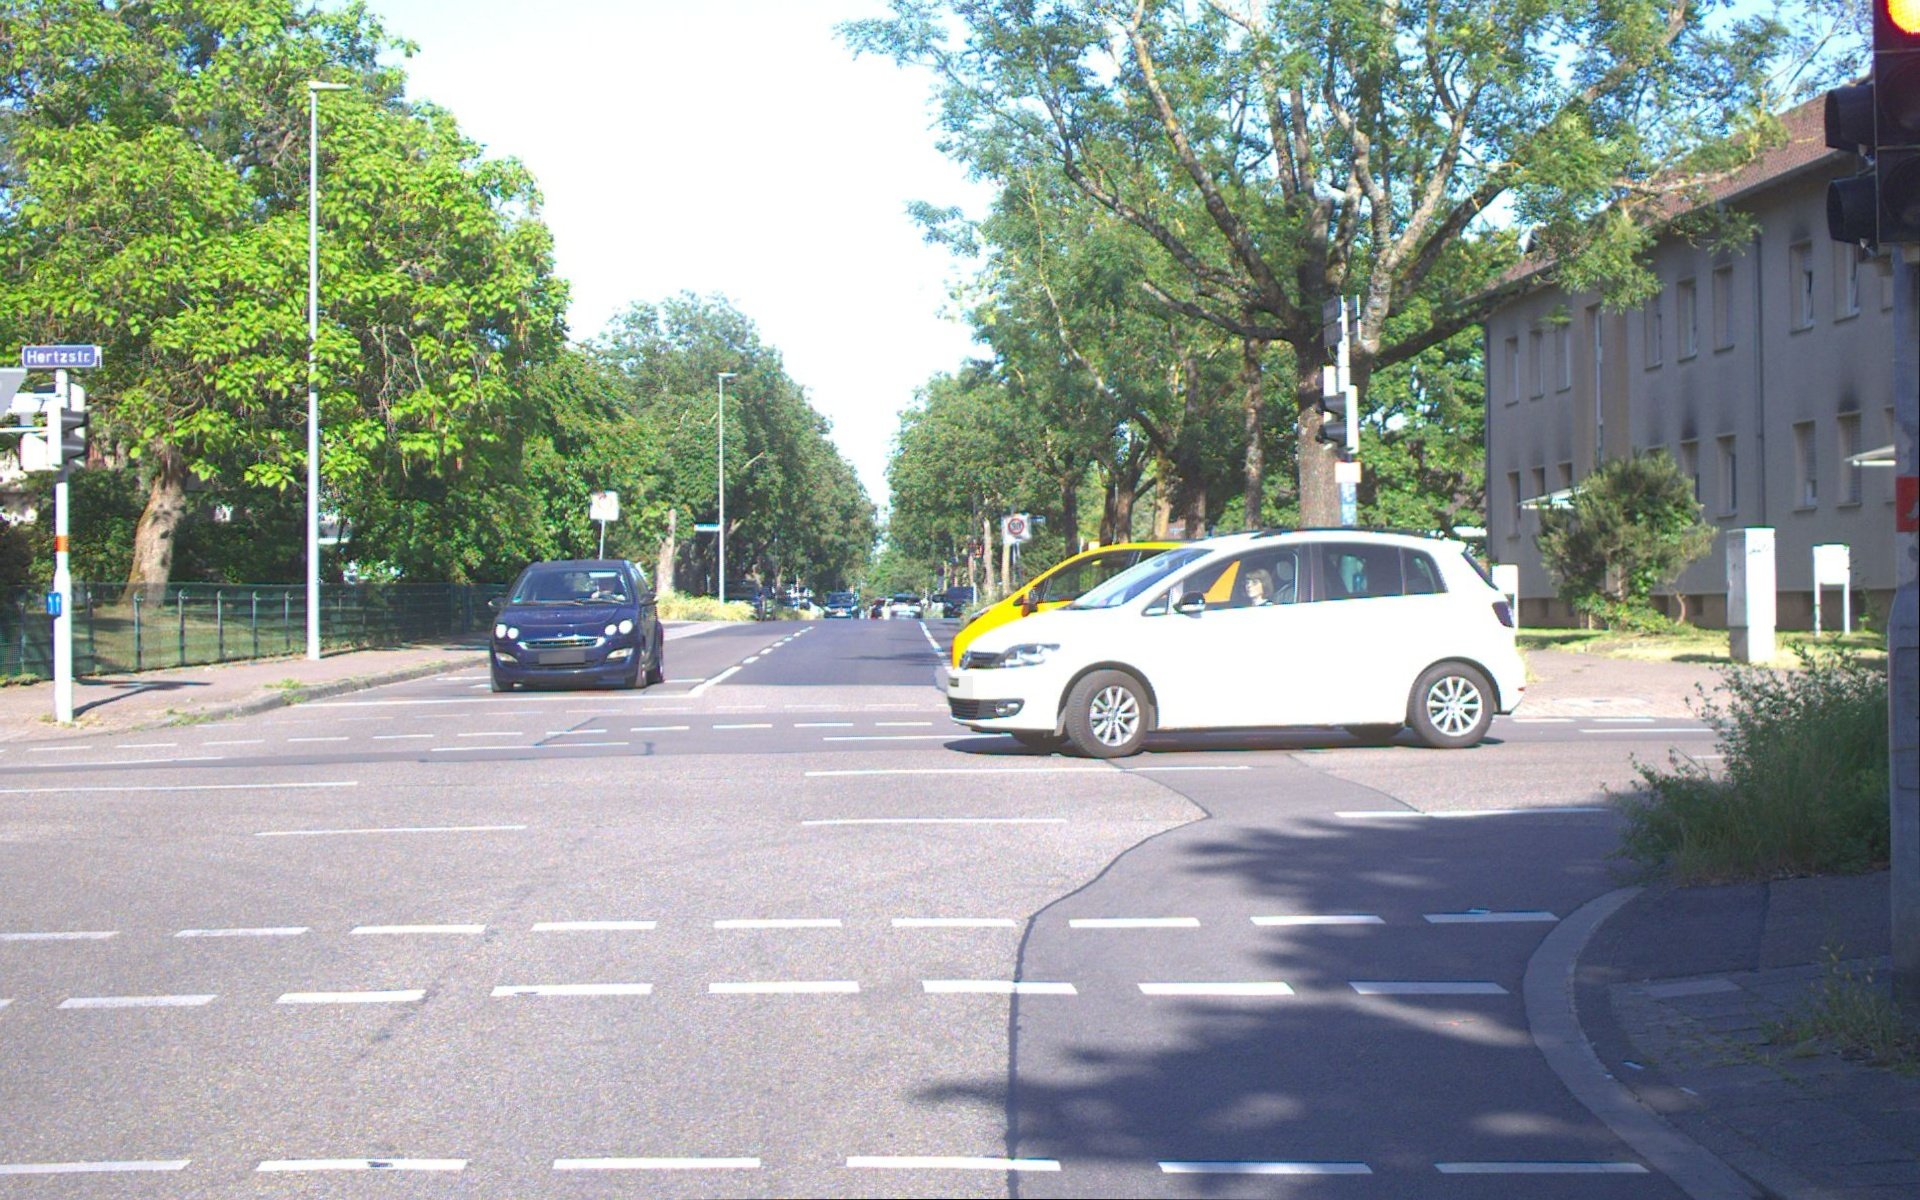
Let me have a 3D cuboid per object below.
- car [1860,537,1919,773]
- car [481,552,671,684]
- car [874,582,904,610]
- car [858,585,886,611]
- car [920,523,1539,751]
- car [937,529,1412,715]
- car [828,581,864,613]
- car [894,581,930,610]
[{"bbox_3d":[8.185,0.299,22.027,4.282,1.484,1.914,-1,1,-2],"label":"car"},{"bbox_3d":[-4.267,0.168,38.631,1.711,1.381,3.471,0,1,0],"label":"car"},{"bbox_3d":[-4.263,-0.260,206.649,1.758,1.619,3.268,0,1,0],"label":"car"},{"bbox_3d":[-5.807,-0.154,227.957,1.758,1.619,3.268,0,1,0],"label":"car"},{"bbox_3d":[1.912,0.264,24.839,4.105,1.558,1.758,1,0,-13],"label":"car"},{"bbox_3d":[1.921,0.164,31.319,3.995,1.577,1.754,1,0,37],"label":"car"},{"bbox_3d":[-5.962,-0.184,180.599,1.758,1.619,3.268,0,1,0],"label":"car"},{"bbox_3d":[-2.520,-0.233,178.362,1.844,1.456,3.530,0,1,-1],"label":"car"}]
